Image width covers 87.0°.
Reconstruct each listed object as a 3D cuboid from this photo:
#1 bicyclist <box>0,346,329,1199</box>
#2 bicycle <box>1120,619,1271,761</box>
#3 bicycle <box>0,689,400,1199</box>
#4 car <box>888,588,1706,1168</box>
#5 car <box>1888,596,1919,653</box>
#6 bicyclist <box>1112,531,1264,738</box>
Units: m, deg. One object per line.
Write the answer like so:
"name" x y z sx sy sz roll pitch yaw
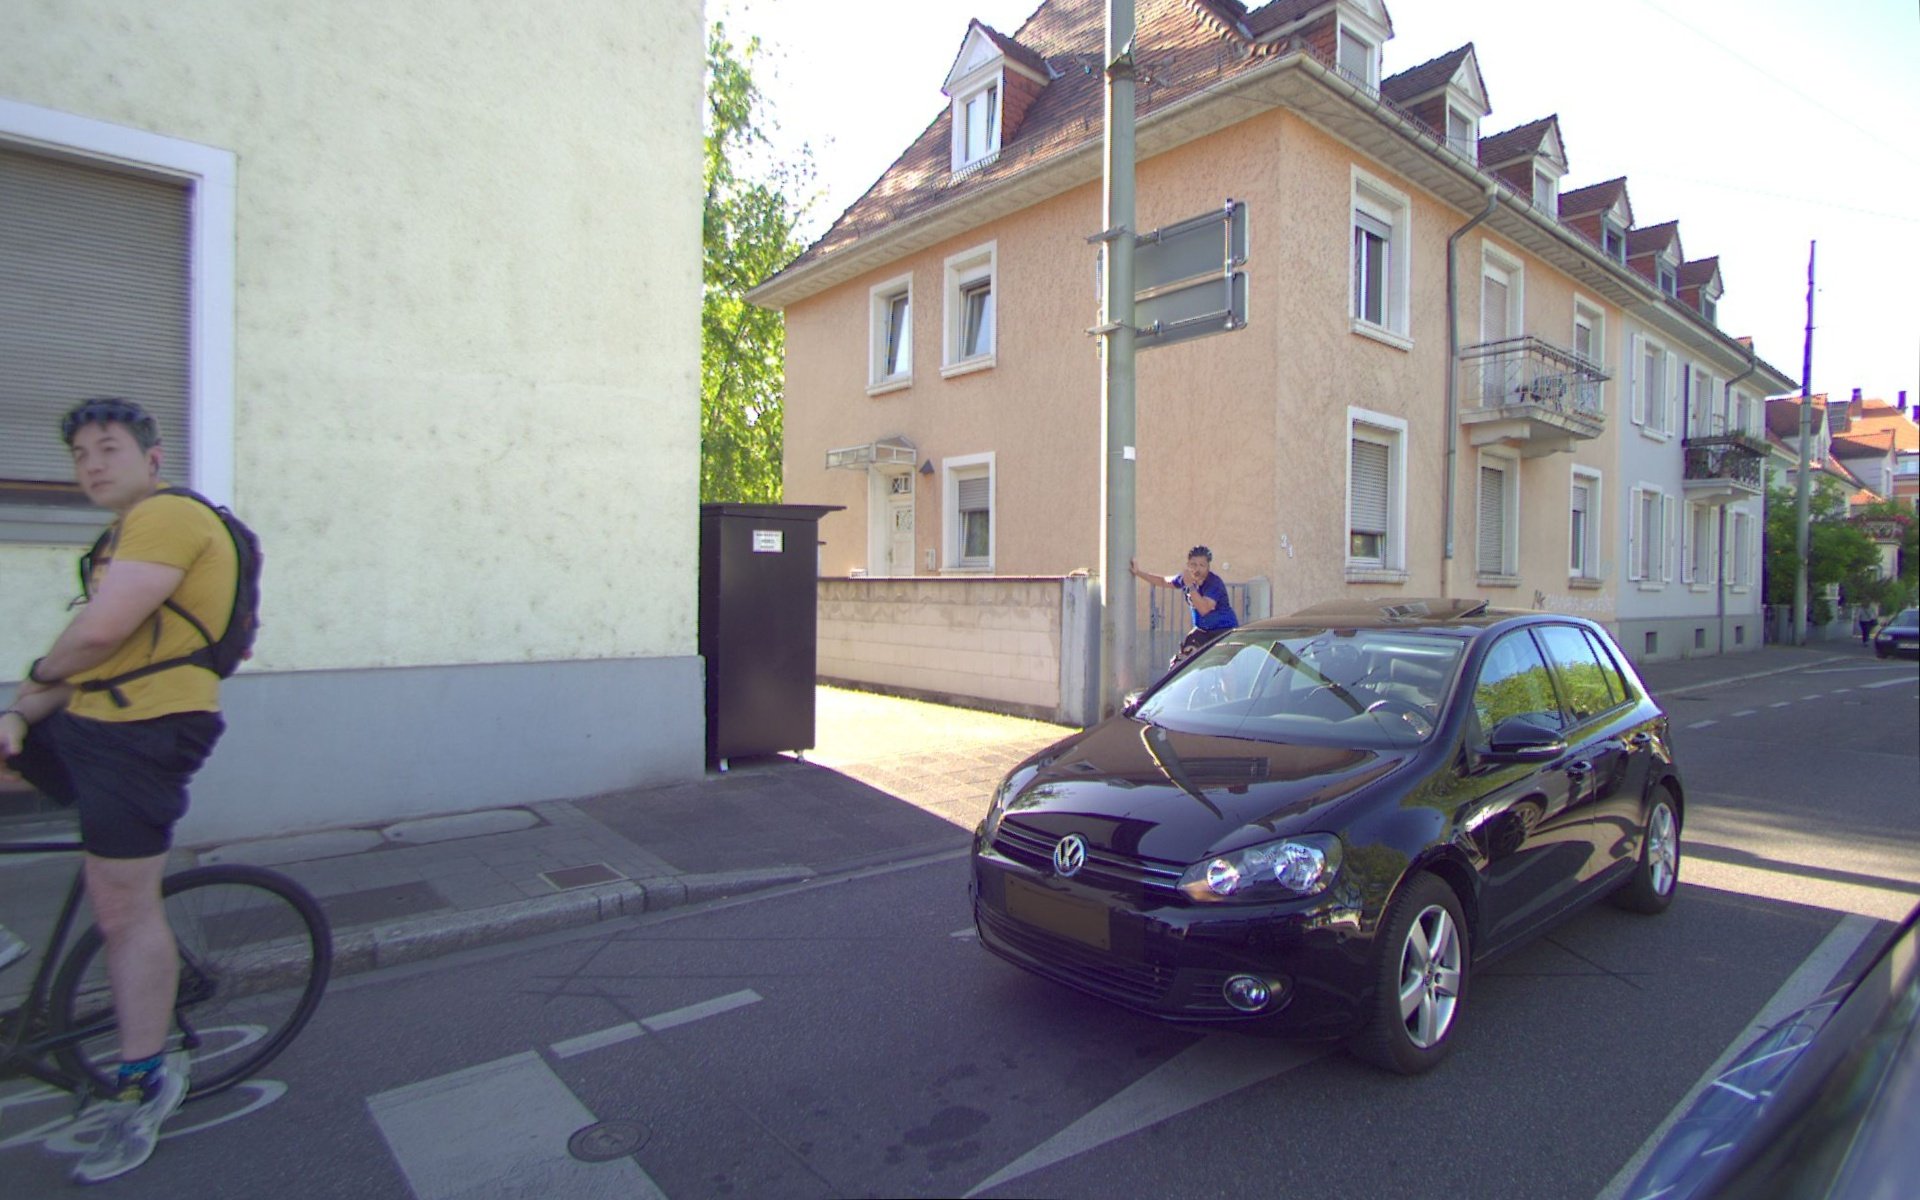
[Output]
"bicyclist" -2.304 0.422 2.741 0.777 1.991 0.768 0 0 36
"bicycle" 2.134 0.752 9.062 0.554 1.088 1.601 6 4 42
"bicycle" -2.500 0.874 2.575 0.777 1.120 1.720 0 0 36
"car" 1.757 0.685 4.506 3.921 1.456 1.716 -1 0 -41
"car" 26.761 0.627 27.440 4.258 1.448 1.824 -1 0 -40
"bicyclist" 2.048 0.271 9.138 1.018 1.714 0.718 6 4 42
